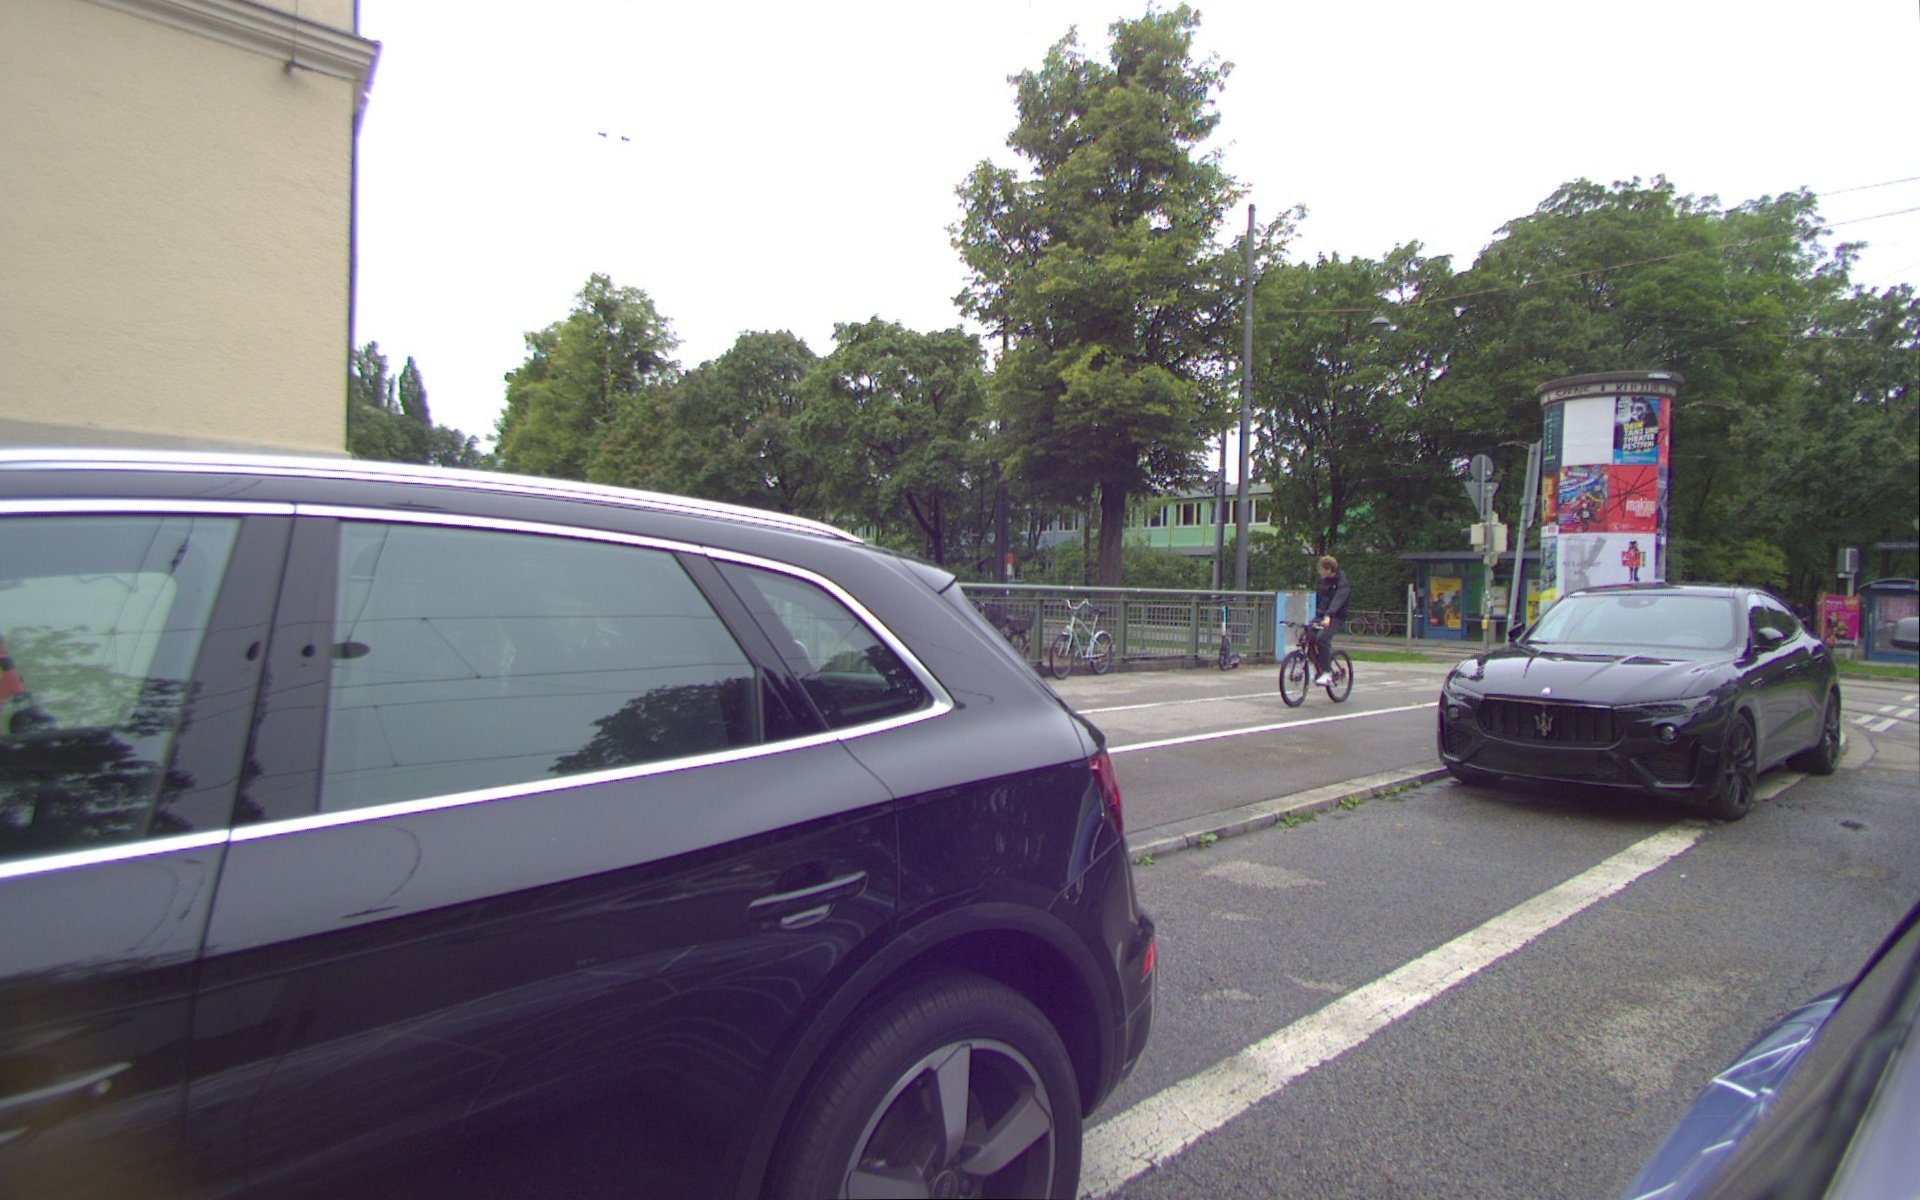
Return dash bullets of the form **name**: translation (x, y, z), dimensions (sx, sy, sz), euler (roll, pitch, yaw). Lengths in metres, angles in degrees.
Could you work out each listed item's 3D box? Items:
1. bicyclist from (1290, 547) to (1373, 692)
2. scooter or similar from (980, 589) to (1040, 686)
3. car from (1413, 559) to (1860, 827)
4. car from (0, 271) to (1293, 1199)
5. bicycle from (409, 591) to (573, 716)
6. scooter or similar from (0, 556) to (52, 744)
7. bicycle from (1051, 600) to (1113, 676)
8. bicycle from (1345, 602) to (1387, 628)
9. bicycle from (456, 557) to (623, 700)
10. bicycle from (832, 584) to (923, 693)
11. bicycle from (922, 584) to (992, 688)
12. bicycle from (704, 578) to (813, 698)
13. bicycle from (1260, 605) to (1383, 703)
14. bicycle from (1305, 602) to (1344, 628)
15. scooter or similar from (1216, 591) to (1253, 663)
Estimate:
- **bicyclist**: translation (4.669, 0.240, 12.720), dimensions (0.714, 1.751, 0.725), euler (0, -1, -41)
- **scooter or similar**: translation (0.708, 0.490, 14.001), dimensions (0.242, 1.279, 1.482), euler (-1, 0, 27)
- **car**: translation (5.761, 0.594, 8.372), dimensions (4.582, 1.630, 1.904), euler (1, -1, -40)
- **car**: translation (-1.434, 0.517, 1.712), dimensions (4.408, 1.679, 1.778), euler (0, 0, -40)
- **bicycle**: translation (-4.441, 0.476, 9.665), dimensions (0.286, 1.120, 1.421), euler (1, 0, 42)
- **scooter or similar**: translation (-7.100, 0.353, 7.062), dimensions (1.122, 1.329, 0.261), euler (0, -1, -41)
- **bicycle**: translation (1.852, 0.542, 15.234), dimensions (0.263, 1.096, 1.524), euler (-1, -1, 34)
- **bicycle**: translation (15.340, 0.557, 38.221), dimensions (0.366, 0.964, 1.483), euler (0, 1, -38)
- **bicycle**: translation (-4.141, 0.267, 10.043), dimensions (1.511, 1.329, 0.332), euler (0, -1, -42)
- **bicycle**: translation (-1.010, 0.453, 12.675), dimensions (0.281, 1.298, 1.391), euler (-1, -1, 38)
- **bicycle**: translation (-0.021, 0.447, 13.354), dimensions (0.280, 1.298, 1.395), euler (-1, -1, 29)
- **bicycle**: translation (-2.280, 0.410, 11.563), dimensions (0.281, 1.298, 1.391), euler (-1, -1, 38)
- **bicycle**: translation (4.519, 0.629, 12.578), dimensions (1.879, 1.091, 0.580), euler (0, 3, -42)
- **bicycle**: translation (14.333, 0.570, 39.862), dimensions (0.366, 0.964, 1.483), euler (0, 1, -38)
- **scooter or similar**: translation (4.810, 0.453, 17.710), dimensions (0.224, 1.227, 1.006), euler (-1, -1, 40)
